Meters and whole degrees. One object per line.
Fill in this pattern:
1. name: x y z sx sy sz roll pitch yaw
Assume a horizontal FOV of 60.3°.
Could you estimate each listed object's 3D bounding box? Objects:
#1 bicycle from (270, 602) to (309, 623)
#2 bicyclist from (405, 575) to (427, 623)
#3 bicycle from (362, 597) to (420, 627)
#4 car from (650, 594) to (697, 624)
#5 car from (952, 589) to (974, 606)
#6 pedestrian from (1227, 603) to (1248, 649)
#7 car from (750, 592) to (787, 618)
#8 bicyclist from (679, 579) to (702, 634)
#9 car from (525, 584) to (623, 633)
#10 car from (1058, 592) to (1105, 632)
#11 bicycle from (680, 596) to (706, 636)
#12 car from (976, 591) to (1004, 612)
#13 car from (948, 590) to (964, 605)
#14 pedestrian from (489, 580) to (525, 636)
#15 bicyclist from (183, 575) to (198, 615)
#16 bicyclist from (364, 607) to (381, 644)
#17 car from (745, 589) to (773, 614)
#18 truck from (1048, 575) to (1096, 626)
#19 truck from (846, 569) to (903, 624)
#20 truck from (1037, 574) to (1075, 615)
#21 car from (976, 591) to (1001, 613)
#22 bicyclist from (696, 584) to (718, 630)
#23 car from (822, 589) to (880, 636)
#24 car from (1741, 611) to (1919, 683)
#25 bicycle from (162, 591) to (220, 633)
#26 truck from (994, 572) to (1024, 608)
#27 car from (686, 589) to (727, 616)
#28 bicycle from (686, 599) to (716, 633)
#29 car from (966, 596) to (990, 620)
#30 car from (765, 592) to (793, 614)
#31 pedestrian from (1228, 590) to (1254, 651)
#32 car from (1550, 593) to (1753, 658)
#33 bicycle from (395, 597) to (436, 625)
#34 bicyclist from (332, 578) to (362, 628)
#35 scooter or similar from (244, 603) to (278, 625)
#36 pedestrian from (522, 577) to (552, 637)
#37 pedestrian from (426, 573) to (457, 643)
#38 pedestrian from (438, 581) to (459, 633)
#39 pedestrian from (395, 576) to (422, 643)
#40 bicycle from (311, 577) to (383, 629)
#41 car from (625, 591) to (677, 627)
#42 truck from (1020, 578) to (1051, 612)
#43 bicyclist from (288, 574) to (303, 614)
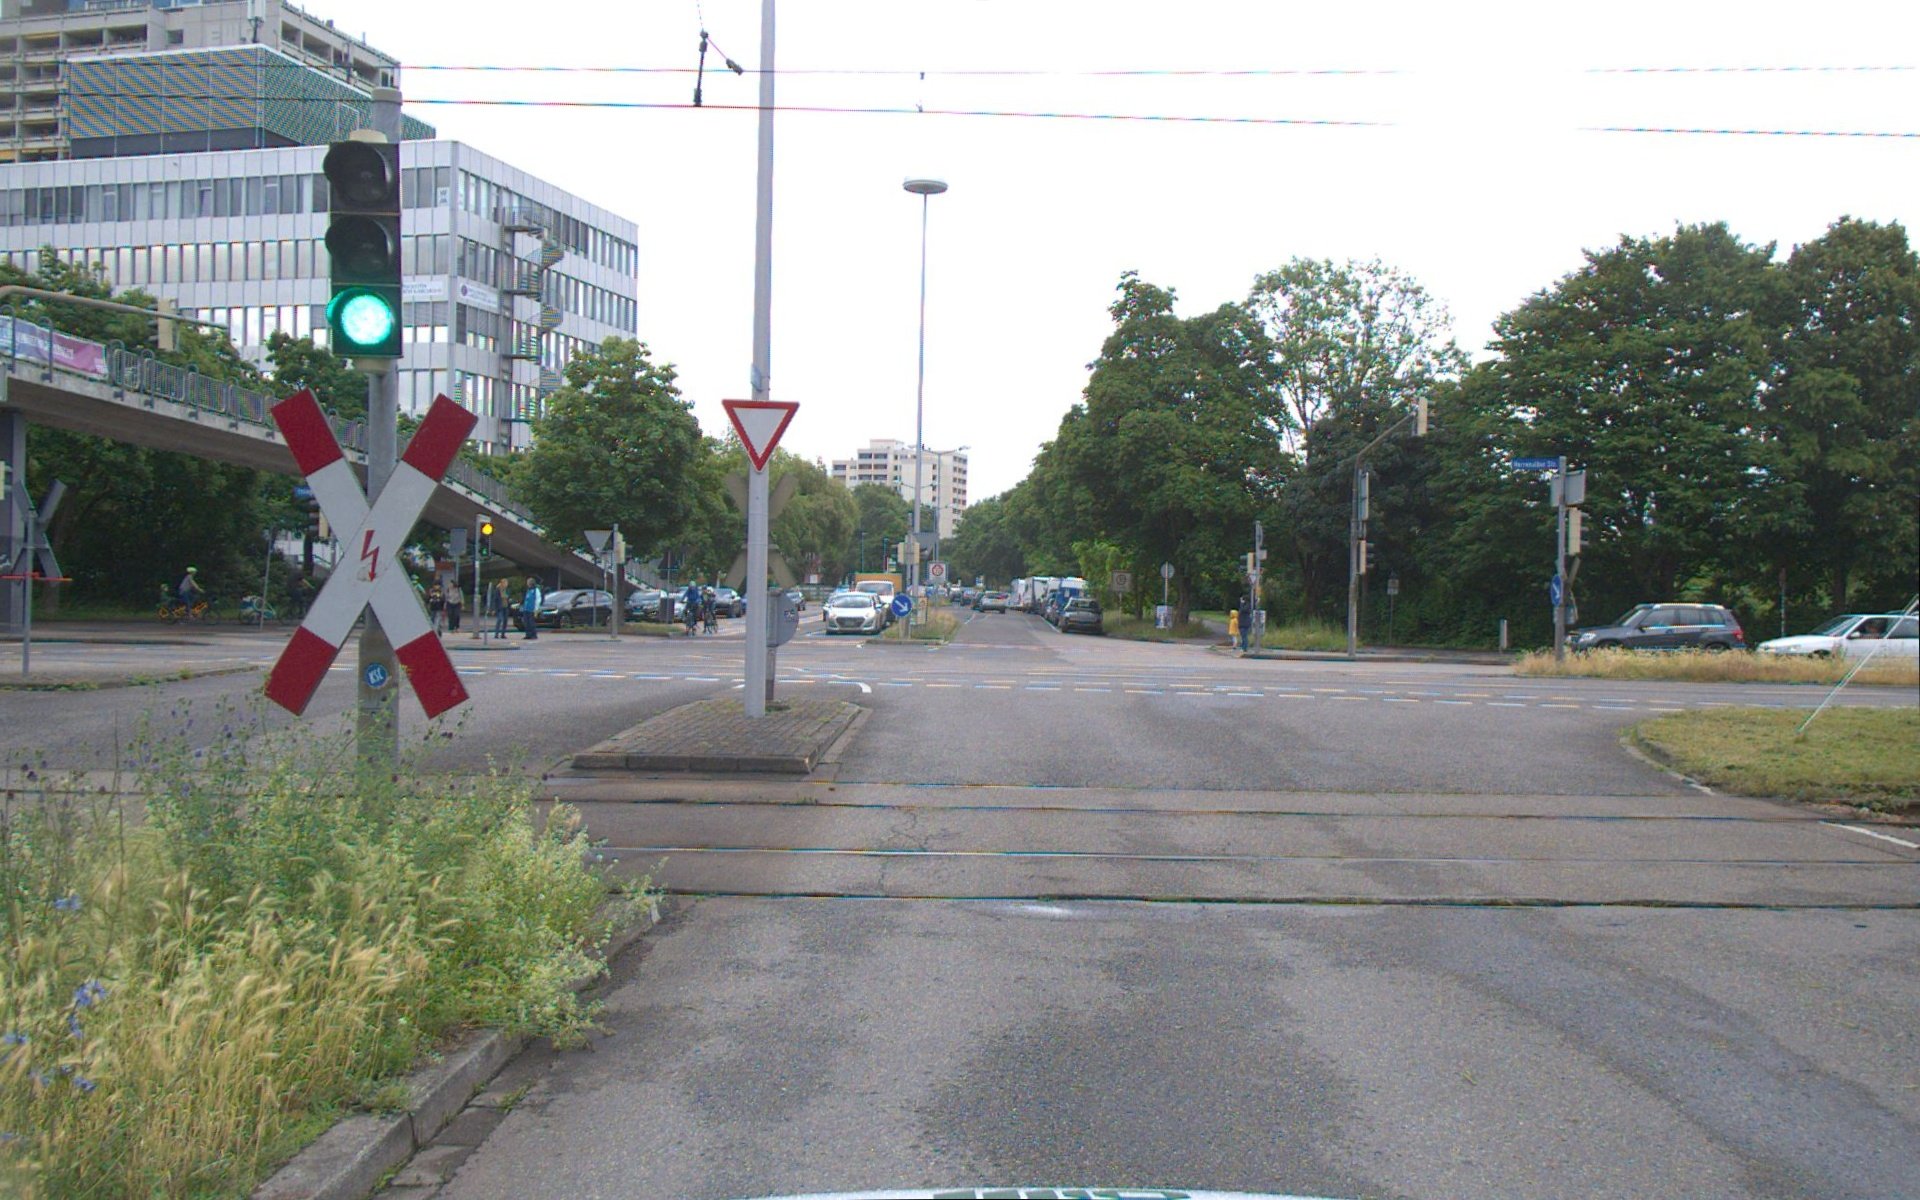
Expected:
1. bicycle: -22.549 0.425 55.666 0.284 0.704 1.295 2 0 30
2. bicyclist: -18.993 -0.029 57.746 0.553 1.673 0.531 1 -1 0
3. bicycle: -19.025 0.395 55.313 0.746 0.965 1.954 1 0 20
4. car: -14.350 0.445 82.943 1.637 1.411 3.895 1 0 0
5. car: 0.261 -0.265 152.576 1.979 1.531 3.999 1 0 -1
6. pedestrian: 8.389 0.790 50.091 0.516 1.365 0.525 1 0 -1
7. car: -10.702 0.273 92.671 1.480 1.414 3.534 1 0 3
8. bicyclist: -8.940 0.219 54.877 0.631 1.799 0.646 1 0 -1
9. car: -13.293 0.276 57.165 1.636 1.579 4.003 1 0 14
10. car: 5.413 0.509 74.026 1.747 1.691 3.999 1 0 -1
11. bicycle: -8.936 0.521 55.319 0.532 1.289 2.110 1 0 -1
12. car: 2.290 0.071 125.984 1.979 1.531 3.999 1 0 -1
13. car: -0.425 -0.245 176.290 1.523 1.531 3.998 1 0 -3
14. pedestrian: -12.486 0.220 45.641 0.901 1.537 0.403 1 0 -12
15. bicyclist: -24.761 -0.170 53.225 0.400 1.275 0.275 1 0 -25
16. bicyclist: -19.589 0.849 55.126 0.396 1.202 0.377 1 1 1
17. car: -13.138 0.072 108.196 1.415 1.579 3.663 1 0 -1
18. truck: 6.103 0.052 90.836 2.130 2.703 6.245 0 0 -1
19. truck: -3.668 -0.156 71.935 2.111 2.237 5.840 1 0 0
20. truck: 6.945 -0.409 120.198 1.954 2.888 5.726 1 0 -4
21. car: 2.329 0.162 137.172 1.953 1.794 3.999 1 0 -1
22. bicyclist: -8.908 0.252 58.279 0.665 1.622 0.695 1 -1 -1
23. car: -3.770 0.421 57.844 1.753 1.545 4.325 1 0 -1
24. car: 18.726 0.978 34.545 4.052 1.381 1.647 1 0 0
25. bicycle: -24.733 0.396 53.219 1.683 1.327 0.386 1 0 -26
26. truck: 4.216 -0.832 143.024 1.954 3.061 5.767 1 0 -4
27. car: -14.198 0.140 92.733 1.727 1.419 3.999 1 0 -1
28. bicycle: -8.989 0.535 57.522 0.712 1.120 2.264 1 0 -1
29. car: 1.547 0.646 142.425 1.979 1.992 3.999 1 0 -1
30. car: -13.726 0.213 125.560 1.637 1.579 4.000 1 0 0
31. pedestrian: 8.386 0.602 49.331 0.643 1.780 0.459 1 0 -1
32. car: 17.553 0.637 42.109 4.373 1.530 1.846 1 0 0
33. bicycle: -18.972 0.376 57.709 0.618 0.941 2.523 1 1 -1
34. bicyclist: -20.282 0.098 54.733 0.517 1.653 0.747 1 0 34
35. scooter or similar: -23.102 0.465 54.679 0.398 0.727 0.994 1 0 32
36. pedestrian: -11.670 0.194 45.637 0.673 1.633 0.487 1 0 -5
37. pedestrian: -13.696 0.206 43.695 0.625 1.835 0.800 1 0 -10
38. pedestrian: -15.921 0.218 51.478 0.570 1.607 0.777 1 0 -19
39. pedestrian: -14.386 0.245 43.118 0.608 1.721 0.404 1 0 -15
40. bicycle: -20.268 0.098 54.703 0.517 1.653 2.358 1 0 34
41. car: -14.435 0.399 77.447 1.637 1.579 3.892 1 0 0
42. truck: 5.989 -0.364 132.256 1.954 2.618 5.375 1 0 -3
43. bicyclist: -22.435 -0.193 55.837 0.272 1.326 0.383 1 0 32
